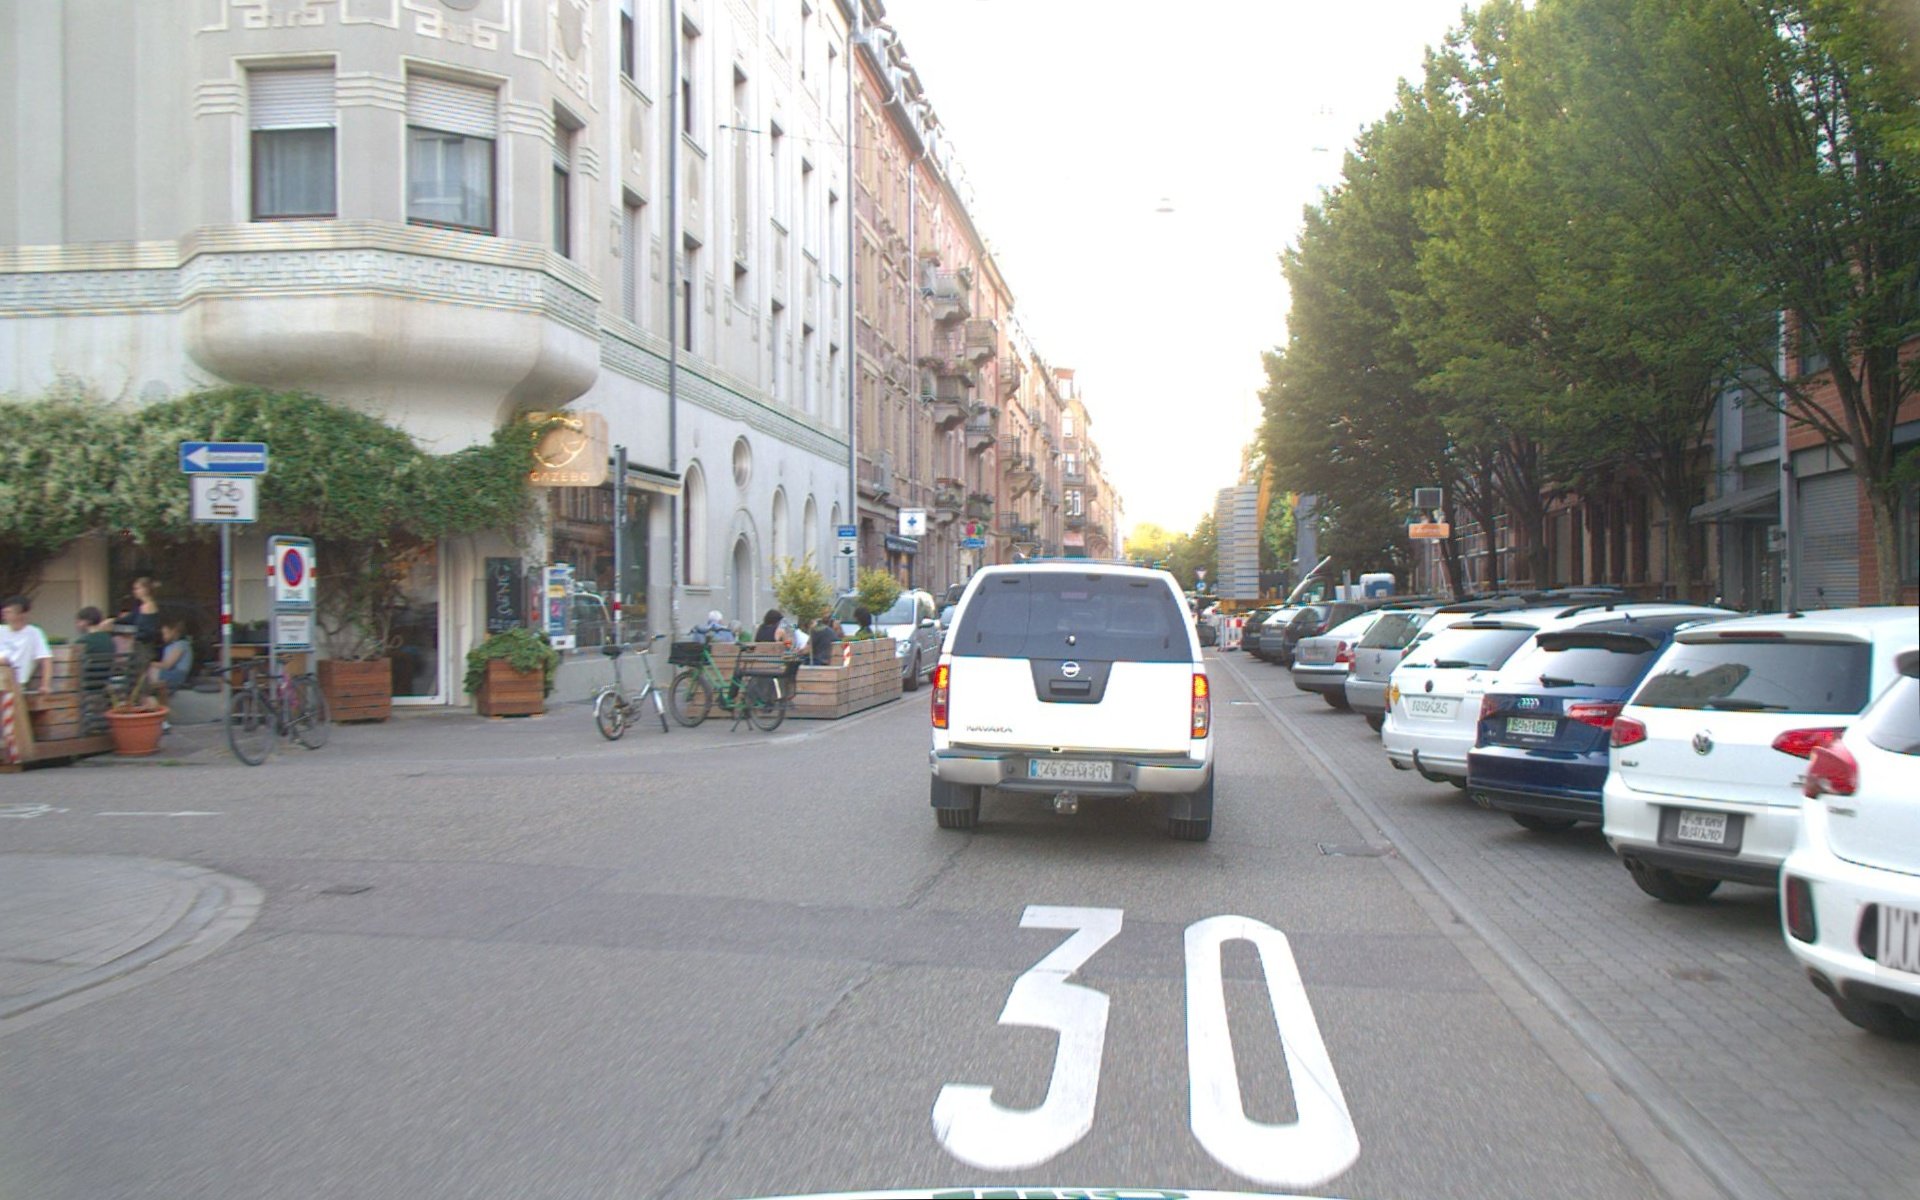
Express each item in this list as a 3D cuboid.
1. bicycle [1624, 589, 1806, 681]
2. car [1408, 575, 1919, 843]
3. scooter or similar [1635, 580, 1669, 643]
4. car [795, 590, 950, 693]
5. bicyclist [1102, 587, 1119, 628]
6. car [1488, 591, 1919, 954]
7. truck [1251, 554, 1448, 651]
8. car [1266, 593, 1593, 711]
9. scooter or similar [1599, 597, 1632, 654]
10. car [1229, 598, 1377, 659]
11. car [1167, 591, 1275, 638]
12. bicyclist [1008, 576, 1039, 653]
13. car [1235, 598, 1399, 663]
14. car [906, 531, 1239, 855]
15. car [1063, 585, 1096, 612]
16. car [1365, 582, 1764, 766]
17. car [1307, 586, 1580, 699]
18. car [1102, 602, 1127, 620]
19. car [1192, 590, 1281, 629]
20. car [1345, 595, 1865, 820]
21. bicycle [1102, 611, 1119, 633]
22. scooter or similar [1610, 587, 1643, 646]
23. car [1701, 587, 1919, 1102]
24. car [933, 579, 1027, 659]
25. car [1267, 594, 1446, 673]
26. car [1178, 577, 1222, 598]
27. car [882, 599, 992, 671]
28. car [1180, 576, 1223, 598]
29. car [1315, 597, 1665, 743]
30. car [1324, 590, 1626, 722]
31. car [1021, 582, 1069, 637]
[{"bbox_3d":[11.679,0.543,25.635,2.480,1.403,0.600,-1,0,10],"label":"bicycle"},{"bbox_3d":[5.177,0.641,11.222,3.934,1.549,1.697,-1,-1,-24],"label":"car"},{"bbox_3d":[14.432,0.224,34.518,0.403,1.239,1.776,-6,-2,18],"label":"scooter or similar"},{"bbox_3d":[-1.416,0.664,28.441,1.951,1.619,4.317,0,0,7],"label":"car"},{"bbox_3d":[6.906,0.338,76.007,0.783,1.882,0.944,0,0,5],"label":"bicyclist"},{"bbox_3d":[4.907,0.726,8.588,3.938,1.499,1.860,-1,-1,-26],"label":"car"},{"bbox_3d":[12.791,0.100,54.754,6.185,3.029,2.266,0,-3,9],"label":"truck"},{"bbox_3d":[6.785,0.707,23.984,4.303,1.561,1.799,-1,0,-17],"label":"car"},{"bbox_3d":[14.734,0.562,37.168,0.362,1.239,1.617,-4,-1,31],"label":"scooter or similar"},{"bbox_3d":[9.149,0.731,44.027,3.844,1.557,1.620,0,0,-33],"label":"car"},{"bbox_3d":[10.337,0.555,65.449,4.106,1.811,1.821,0,0,13],"label":"car"},{"bbox_3d":[1.446,0.319,37.327,0.590,1.714,1.143,0,0,8],"label":"bicyclist"},{"bbox_3d":[8.952,0.722,41.423,3.780,1.462,1.747,-2,1,-28],"label":"car"},{"bbox_3d":[0.872,0.549,12.003,1.892,1.826,4.625,2,0,5],"label":"car"},{"bbox_3d":[7.058,-0.069,97.470,1.673,1.557,4.003,0,0,7],"label":"car"},{"bbox_3d":[5.916,0.654,16.192,3.549,1.608,1.702,-1,0,-26],"label":"car"},{"bbox_3d":[7.845,0.652,26.958,3.918,1.665,1.753,-1,0,-13],"label":"car"},{"bbox_3d":[13.506,0.942,144.348,1.807,1.579,4.359,0,0,10],"label":"car"},{"bbox_3d":[13.188,0.449,78.917,4.105,1.811,1.821,0,0,10],"label":"car"},{"bbox_3d":[5.205,0.759,13.325,3.934,1.564,1.624,-1,0,-24],"label":"car"},{"bbox_3d":[6.927,0.994,76.083,0.783,0.963,2.006,0,0,5],"label":"bicycle"},{"bbox_3d":[14.536,0.342,36.061,0.362,1.239,1.700,-4,-1,31],"label":"scooter or similar"},{"bbox_3d":[4.690,0.708,5.620,3.932,1.533,1.758,-1,0,-22],"label":"car"},{"bbox_3d":[0.591,0.461,43.218,1.864,1.959,4.951,1,0,8],"label":"car"},{"bbox_3d":[8.497,0.681,35.456,3.352,1.500,1.761,-2,1,-24],"label":"car"},{"bbox_3d":[25.146,-1.308,173.338,4.490,2.215,1.821,0,0,10],"label":"car"},{"bbox_3d":[-0.457,0.743,37.373,1.871,1.497,4.537,1,0,7],"label":"car"},{"bbox_3d":[25.847,-1.386,177.272,4.490,2.215,1.821,0,0,10],"label":"car"},{"bbox_3d":[6.053,0.742,18.953,3.541,1.508,1.712,-1,0,-21],"label":"car"},{"bbox_3d":[6.651,0.676,21.397,3.542,1.561,1.553,-1,0,-21],"label":"car"},{"bbox_3d":[3.240,0.342,62.478,1.526,1.955,3.859,2,0,7],"label":"car"}]
